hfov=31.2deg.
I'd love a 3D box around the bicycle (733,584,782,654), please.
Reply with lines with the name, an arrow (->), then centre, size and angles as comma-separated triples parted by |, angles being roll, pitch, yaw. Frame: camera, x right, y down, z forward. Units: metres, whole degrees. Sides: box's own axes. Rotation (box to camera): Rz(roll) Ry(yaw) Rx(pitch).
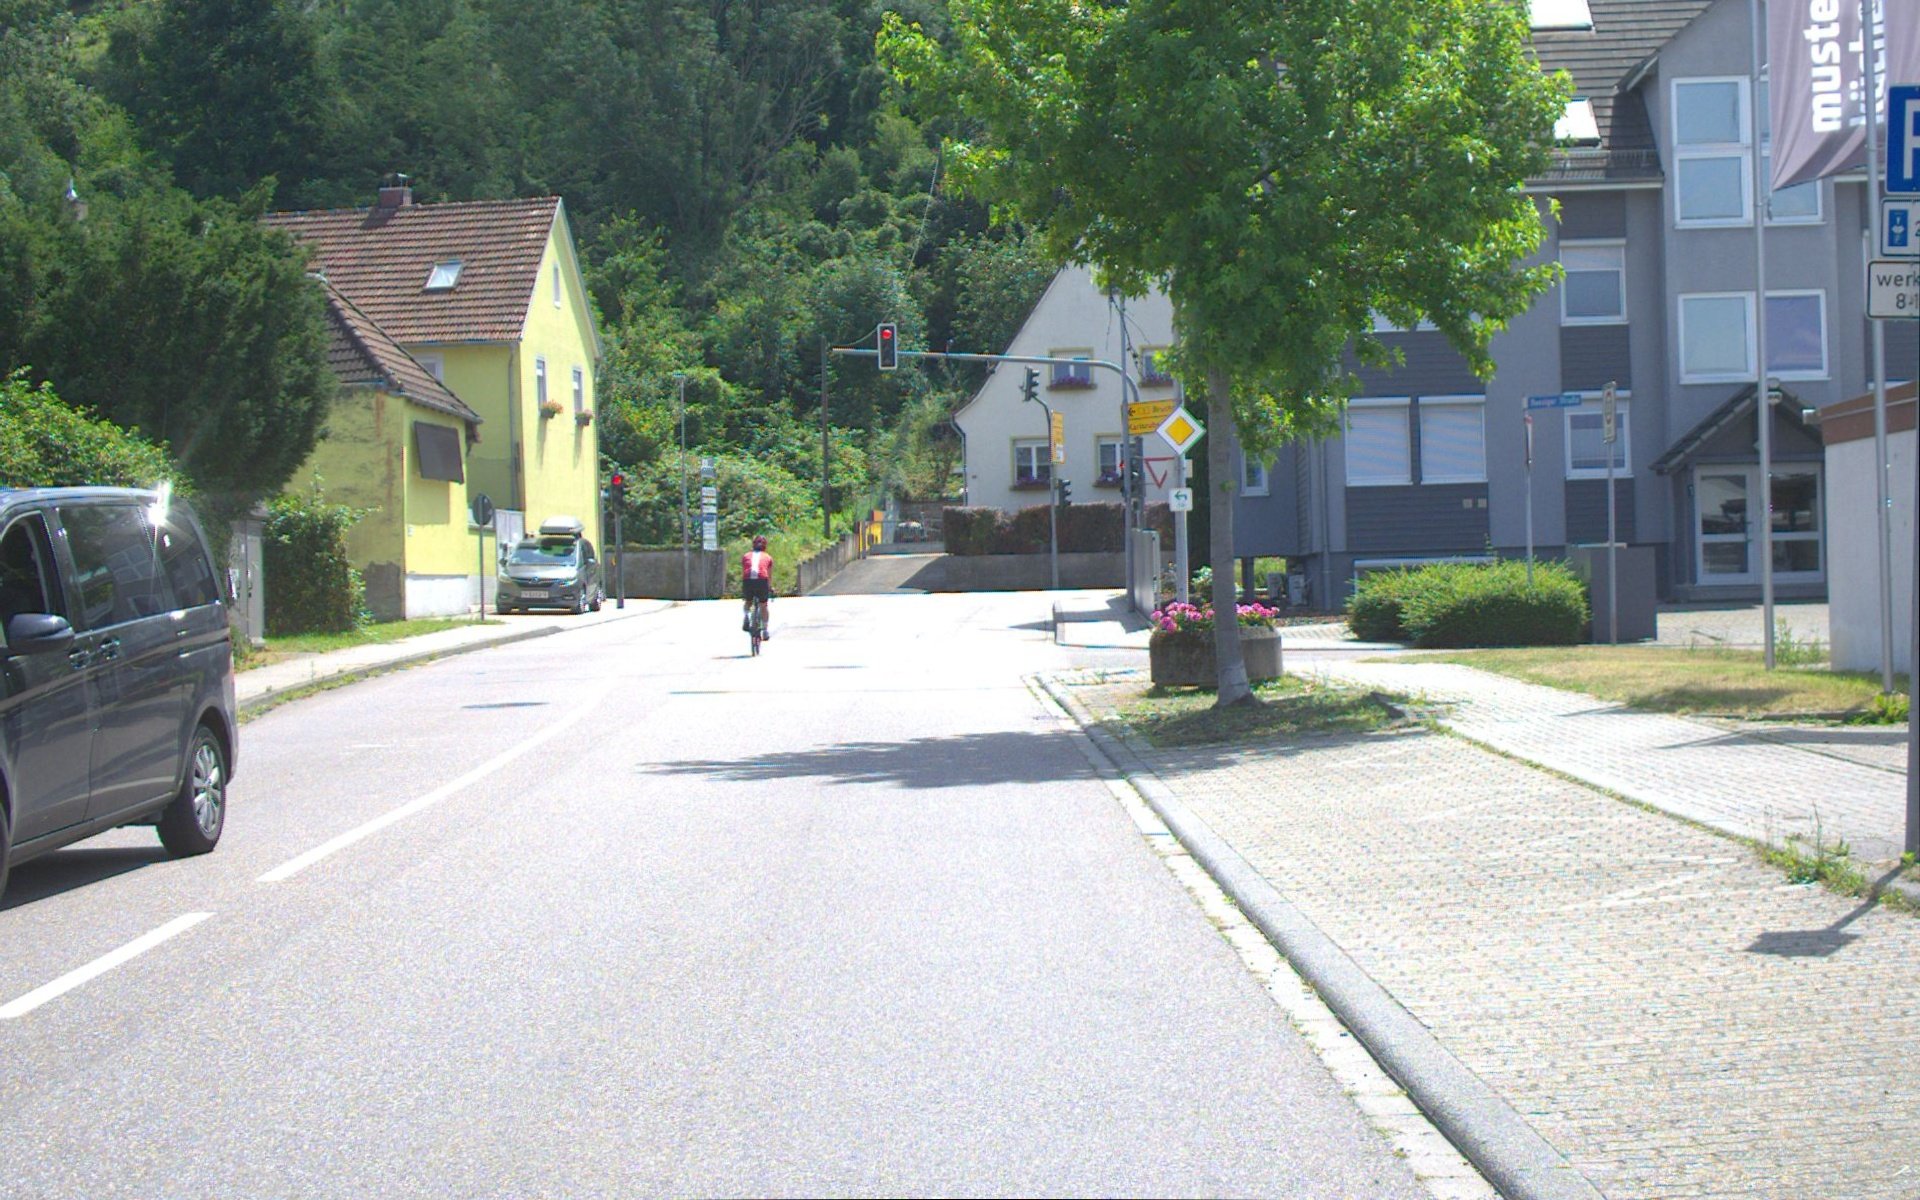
bicycle -> -2.713, 0.244, 46.208 | 0.630, 0.902, 1.657 | 0, 1, -2

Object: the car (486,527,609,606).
car -> -8.891, -0.749, 74.368 | 1.993, 1.630, 4.630 | 0, 1, 1

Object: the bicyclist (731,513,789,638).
bicyclist -> -2.684, -0.335, 46.151 | 0.760, 1.659, 0.869 | 0, 1, -2

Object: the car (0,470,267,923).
car -> -4.840, 0.406, 15.669 | 1.994, 1.846, 5.069 | -3, 1, 3
